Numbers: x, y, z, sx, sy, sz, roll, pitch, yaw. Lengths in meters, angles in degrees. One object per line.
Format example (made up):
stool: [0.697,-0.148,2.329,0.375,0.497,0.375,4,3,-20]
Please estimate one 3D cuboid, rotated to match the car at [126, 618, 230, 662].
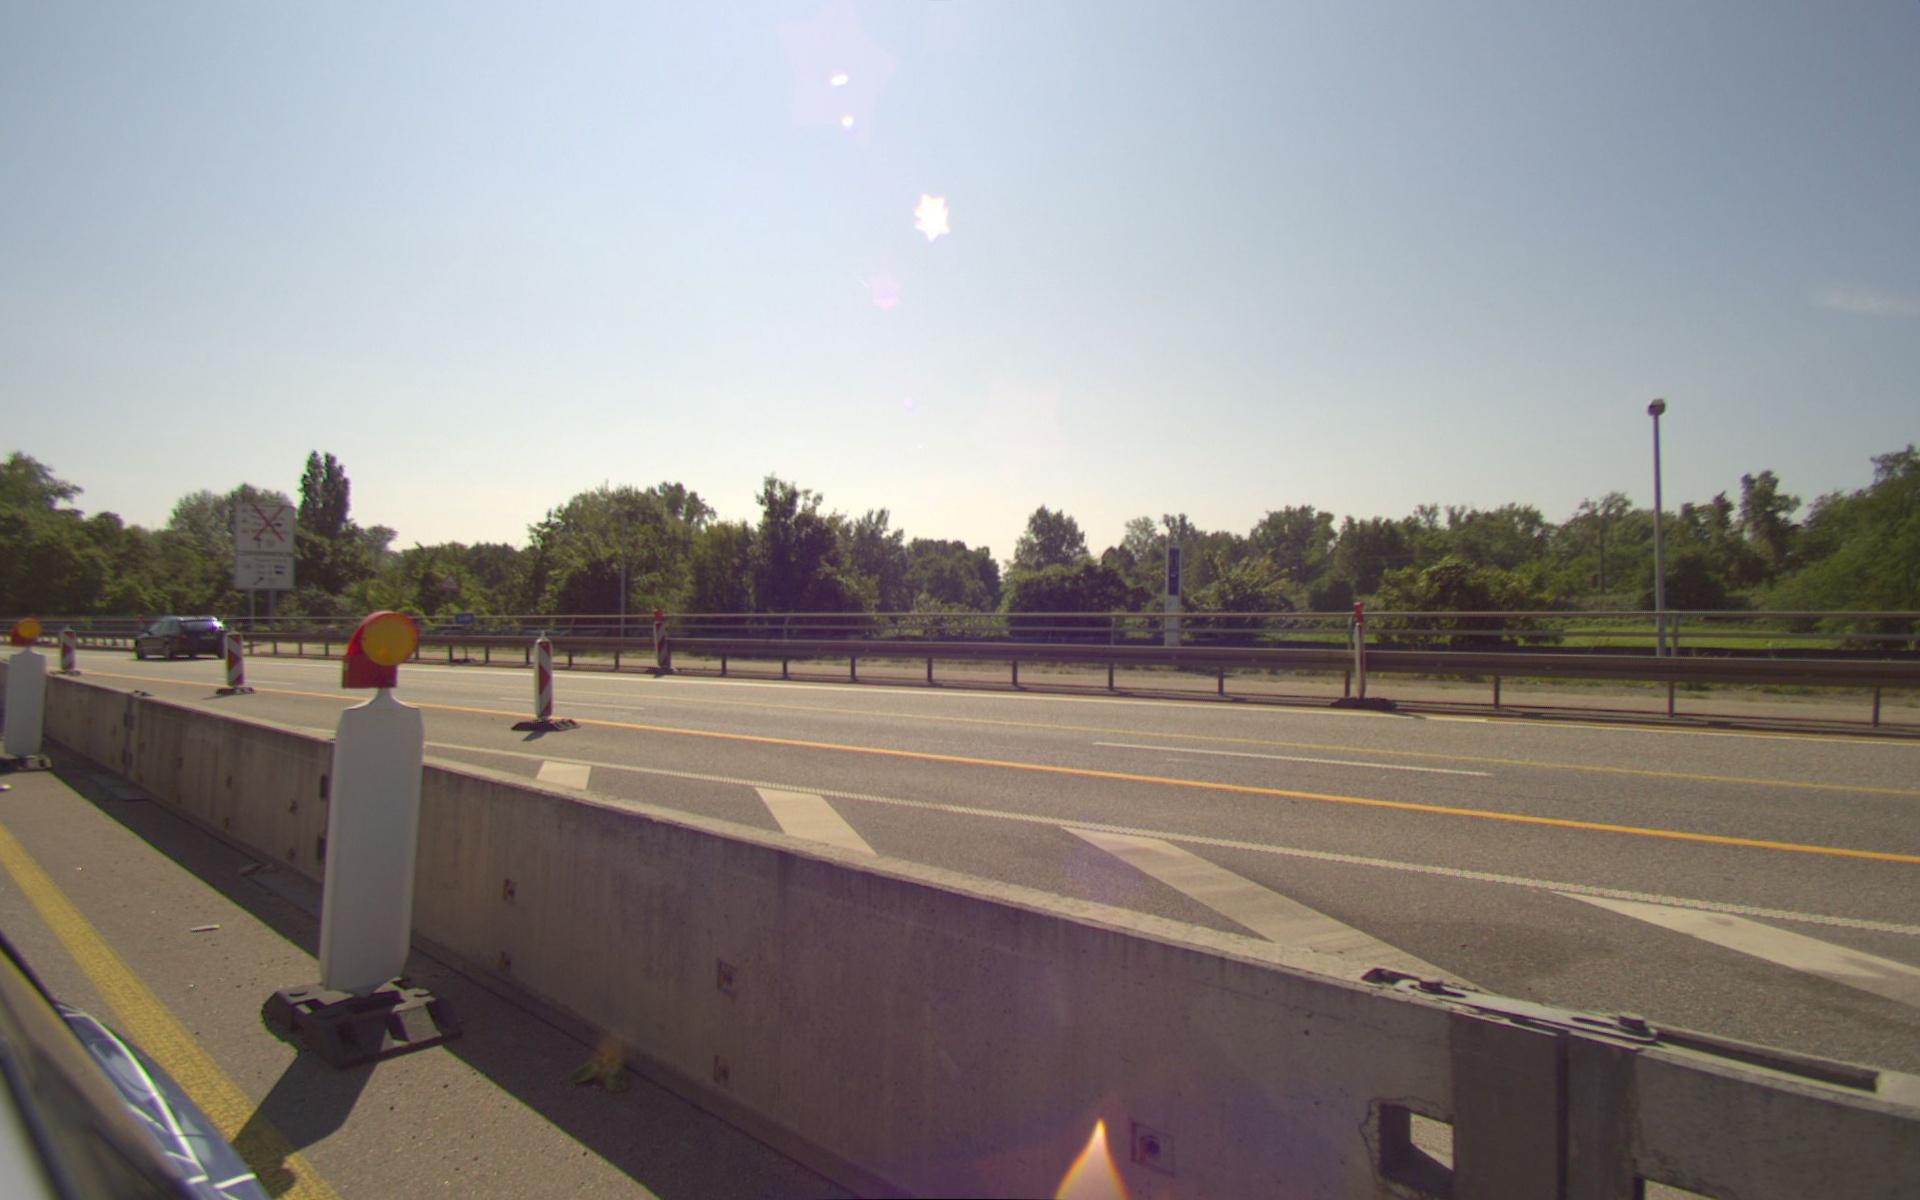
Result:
car: [-27.591,1.376,35.649,4.988,1.453,1.652,-1,-1,37]
